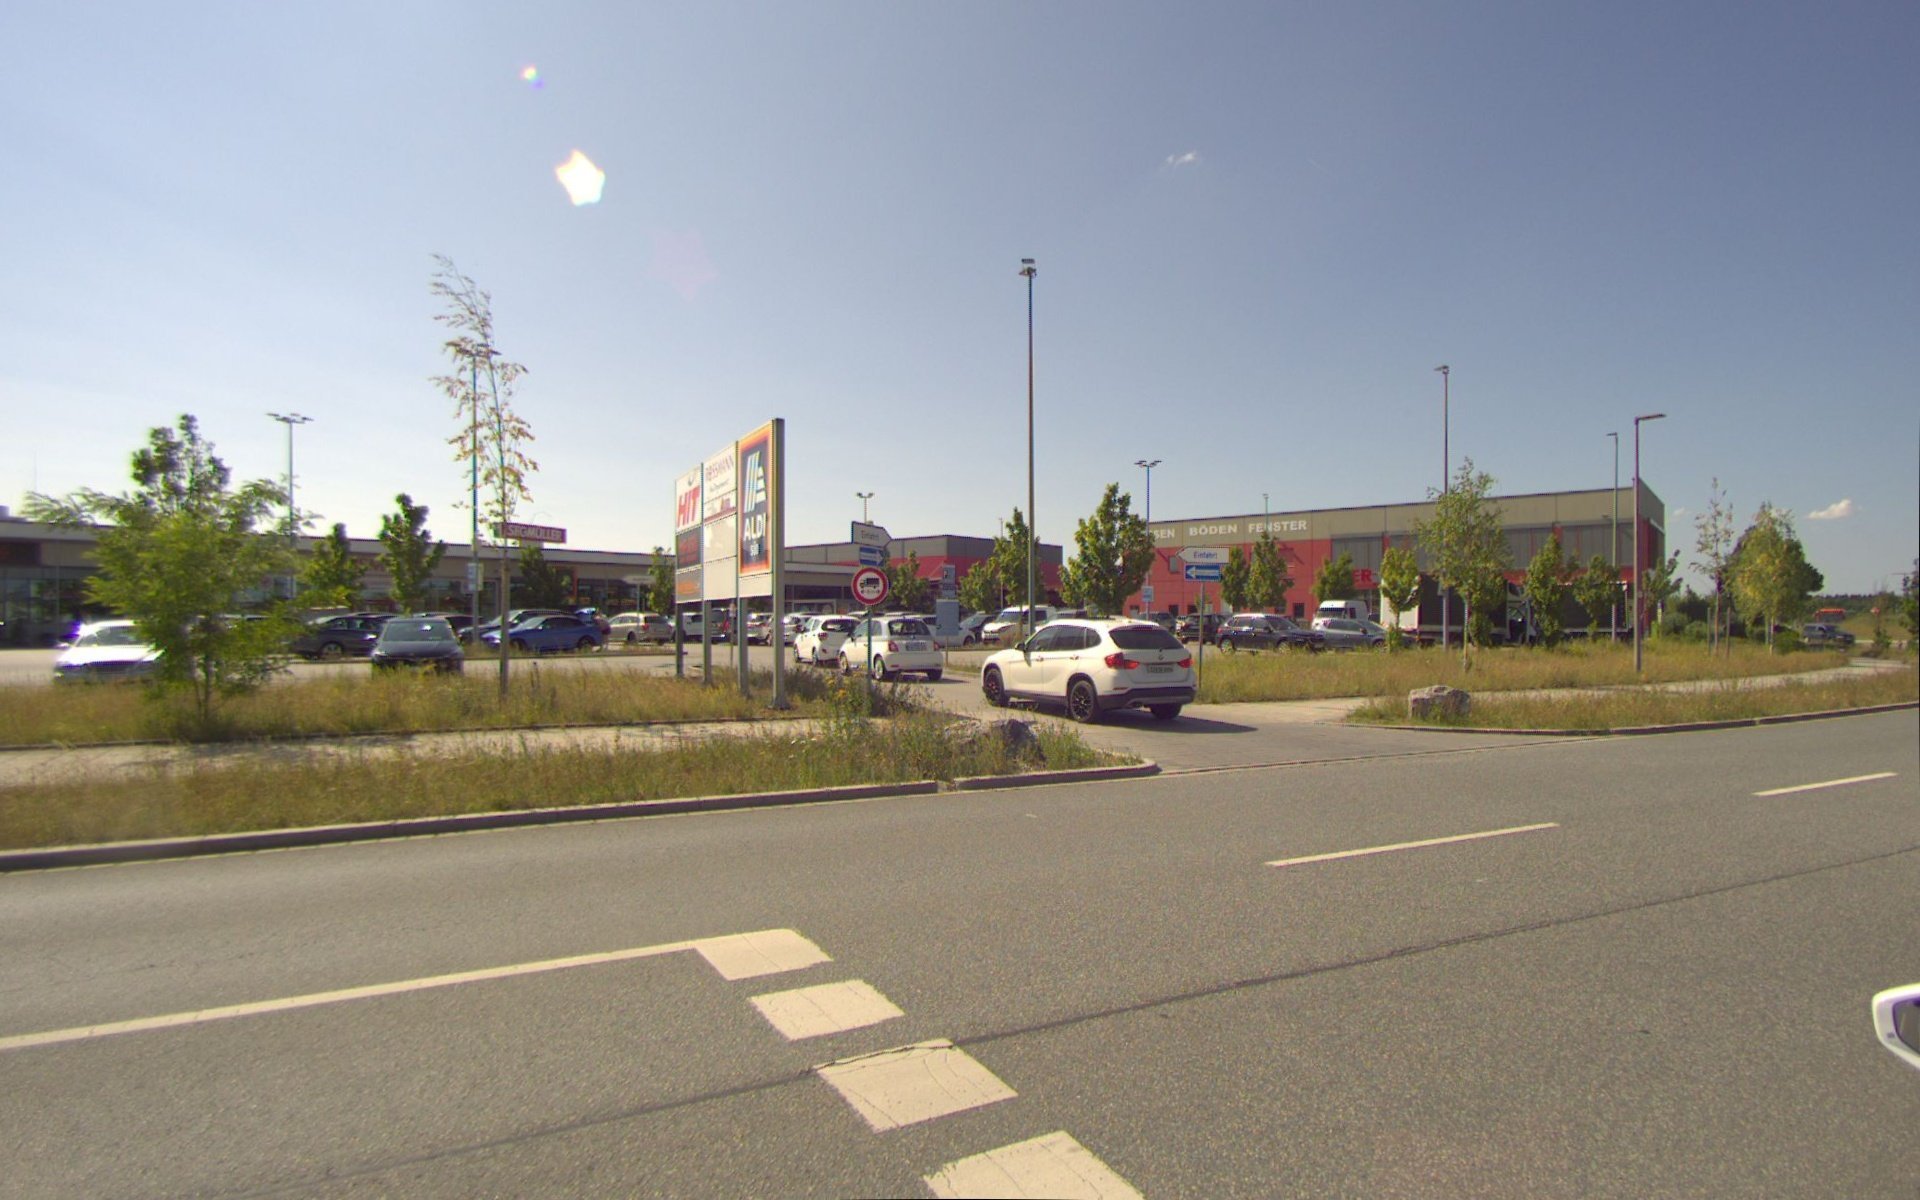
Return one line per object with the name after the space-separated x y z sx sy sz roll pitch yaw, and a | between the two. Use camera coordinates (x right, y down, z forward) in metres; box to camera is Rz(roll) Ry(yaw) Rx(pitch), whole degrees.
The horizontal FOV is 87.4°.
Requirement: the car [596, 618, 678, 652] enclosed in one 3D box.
-15.437 1.633 47.984 3.936 1.568 1.833 -1 -1 37 | car

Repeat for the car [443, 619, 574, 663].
-17.346 1.547 38.763 1.691 1.602 4.336 -1 -2 38 | car

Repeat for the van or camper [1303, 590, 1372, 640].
26.227 1.075 69.583 2.400 3.314 7.205 0 -1 38 | van or camper

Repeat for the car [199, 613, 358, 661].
-23.846 1.252 35.296 1.691 1.581 4.336 -1 -2 38 | car

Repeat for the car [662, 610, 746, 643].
-14.202 1.459 55.941 1.886 1.748 4.367 0 -1 36 | car

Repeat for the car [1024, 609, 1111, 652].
4.957 1.374 45.878 1.810 1.847 4.361 -1 -2 40 | car

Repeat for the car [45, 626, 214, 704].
-16.450 1.216 20.132 1.913 1.366 4.125 1 -1 -30 | car

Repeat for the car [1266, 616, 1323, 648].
19.152 1.816 57.467 1.809 1.797 4.365 0 -2 37 | car

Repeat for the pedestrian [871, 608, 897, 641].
-4.950 1.592 65.448 1.076 2.075 1.245 -1 -1 40 | pedestrian

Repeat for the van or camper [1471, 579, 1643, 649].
32.048 0.760 54.140 7.614 3.514 2.540 -1 -2 45 | van or camper

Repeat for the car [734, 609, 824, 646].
-8.983 1.348 50.111 1.885 1.749 4.369 0 -1 34 | car

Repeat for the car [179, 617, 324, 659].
-27.457 1.436 39.045 1.691 1.564 4.336 -1 -2 38 | car

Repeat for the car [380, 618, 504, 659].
-21.588 1.570 41.996 1.691 1.596 4.336 -1 -2 38 | car

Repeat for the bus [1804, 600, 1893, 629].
108.300 1.726 122.333 12.018 3.120 2.783 -1 -1 -21 | bus

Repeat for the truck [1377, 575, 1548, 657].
22.630 0.740 45.228 7.374 3.510 2.316 1 -1 -18 | truck

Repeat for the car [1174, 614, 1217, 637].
17.809 1.931 75.834 1.640 1.636 4.069 0 -2 37 | car

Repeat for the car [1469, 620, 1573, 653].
28.574 1.822 51.221 4.321 1.573 1.827 -1 -2 44 | car

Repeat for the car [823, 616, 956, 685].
-1.854 1.195 25.133 1.894 1.568 3.971 1 -1 -28 | car

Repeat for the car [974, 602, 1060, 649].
2.736 1.208 47.467 1.810 2.092 4.361 -1 -2 40 | car

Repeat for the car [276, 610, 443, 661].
-19.305 1.113 32.460 1.691 1.536 4.336 -1 -2 38 | car

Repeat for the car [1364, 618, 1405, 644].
28.565 2.047 67.569 1.640 1.693 4.069 0 -1 37 | car

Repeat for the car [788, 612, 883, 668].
-3.849 1.174 30.397 1.890 1.568 3.979 1 -1 -22 | car

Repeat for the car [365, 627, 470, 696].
-12.192 1.297 22.519 1.913 1.366 4.125 1 -1 -30 | car

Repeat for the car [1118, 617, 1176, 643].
11.826 1.874 63.306 1.809 1.583 4.365 0 -2 37 | car

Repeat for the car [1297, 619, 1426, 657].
15.725 1.461 39.572 1.956 1.402 4.394 1 -2 -35 | car

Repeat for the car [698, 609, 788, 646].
-11.080 1.412 51.525 1.886 1.817 4.367 0 -1 36 | car

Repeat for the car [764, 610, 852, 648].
-7.297 1.393 48.558 1.883 1.740 4.374 0 -1 30 | car

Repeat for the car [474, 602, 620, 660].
-15.232 1.118 37.310 1.691 2.012 4.814 -1 -1 38 | car

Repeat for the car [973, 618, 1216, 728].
2.060 1.095 16.635 1.894 1.568 4.194 1 -1 -29 | car

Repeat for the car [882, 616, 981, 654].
-1.152 1.455 42.857 1.810 1.532 4.361 -1 -2 40 | car

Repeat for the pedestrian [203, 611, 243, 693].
-15.697 1.092 21.409 0.572 1.717 0.761 1 -1 -30 | pedestrian

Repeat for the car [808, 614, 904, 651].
-4.802 1.484 46.874 1.889 1.639 4.361 -1 -2 40 | car

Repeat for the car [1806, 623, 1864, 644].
79.362 3.009 91.196 1.918 1.818 4.430 -1 -2 10 | car

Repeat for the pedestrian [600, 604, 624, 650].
-13.685 1.074 39.510 0.788 1.783 0.544 0 -1 41 | pedestrian

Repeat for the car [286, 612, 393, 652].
-31.732 1.616 51.458 1.691 1.984 4.336 -1 -1 38 | car

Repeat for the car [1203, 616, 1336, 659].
11.271 1.334 36.839 1.820 1.478 4.545 1 -2 -35 | car

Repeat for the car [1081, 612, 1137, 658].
5.439 1.229 36.333 1.801 1.532 4.625 0 -1 11 | car
